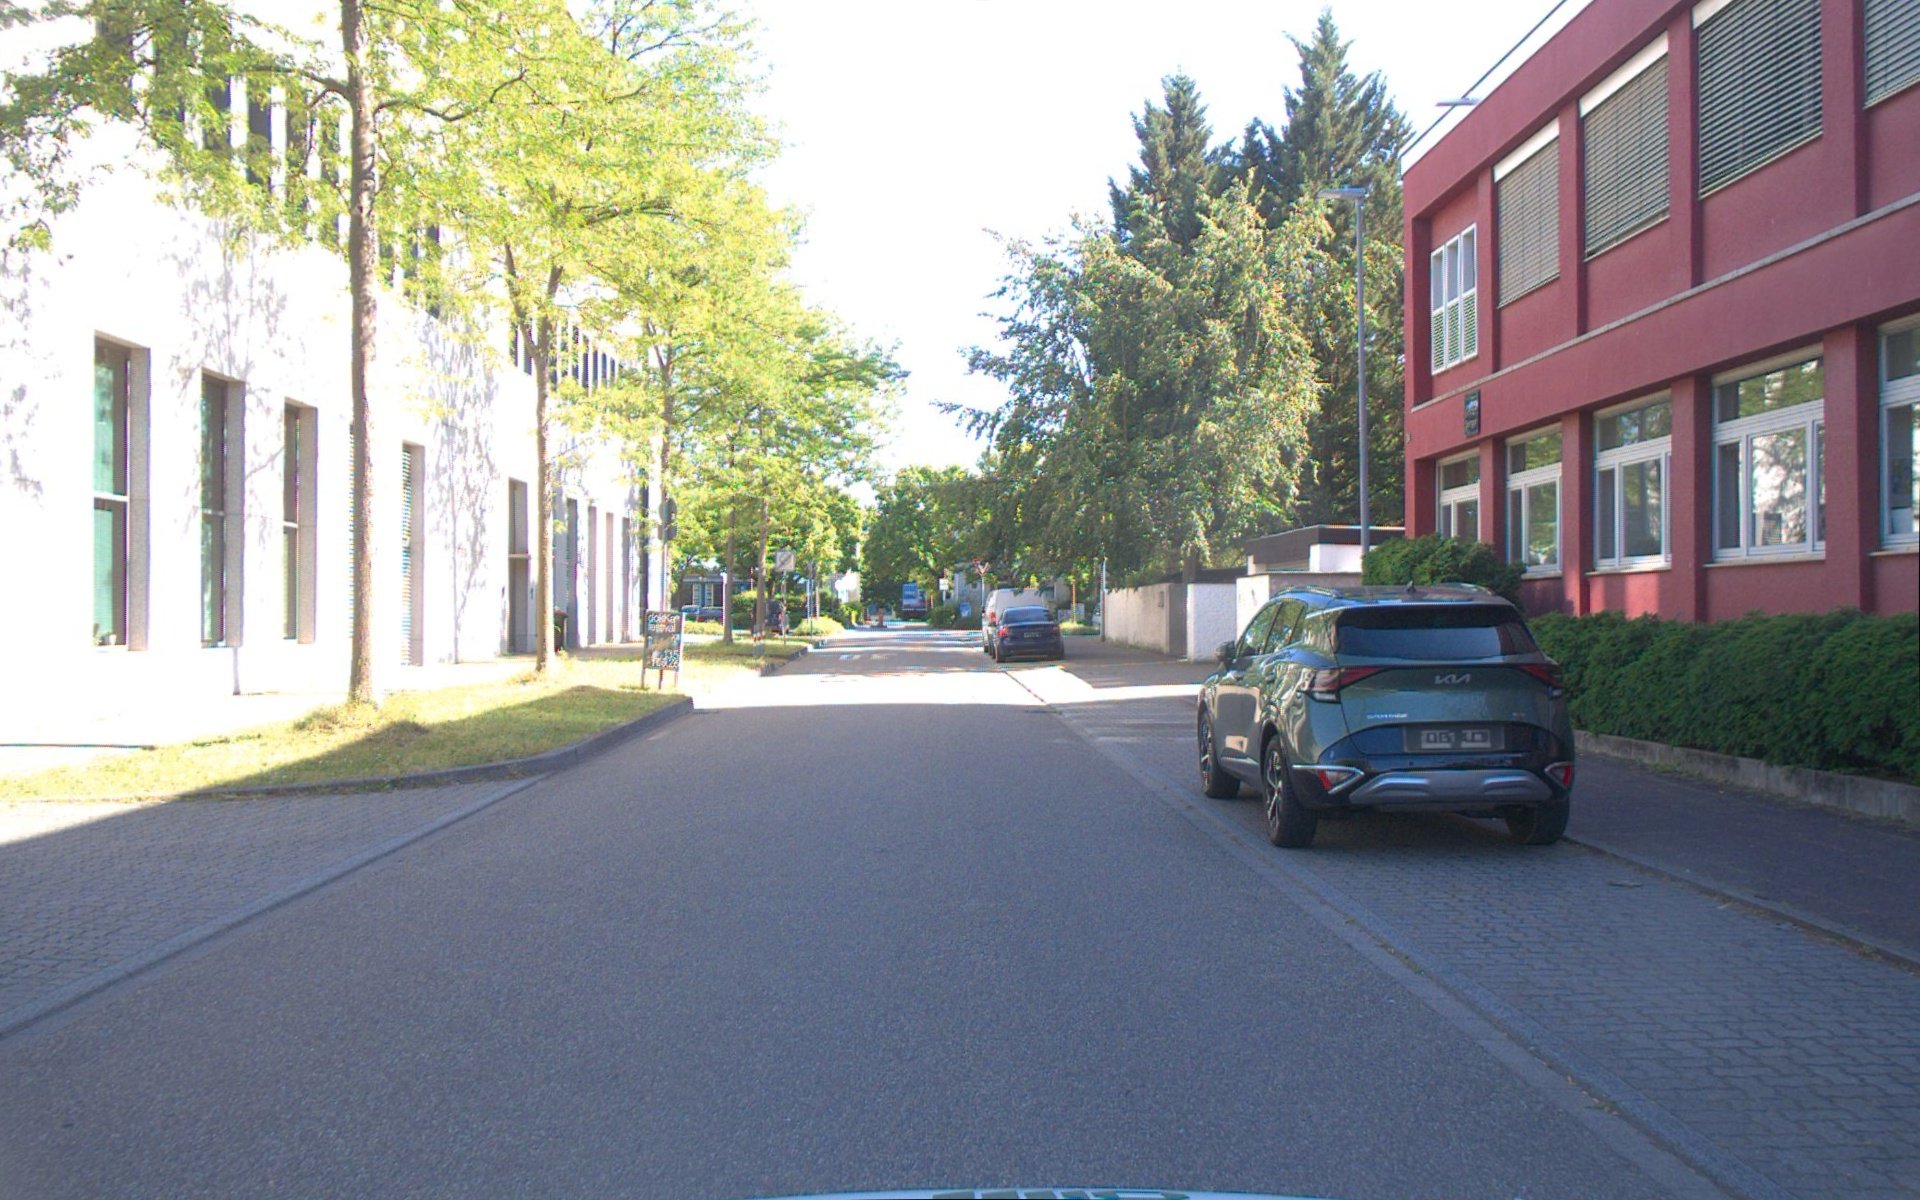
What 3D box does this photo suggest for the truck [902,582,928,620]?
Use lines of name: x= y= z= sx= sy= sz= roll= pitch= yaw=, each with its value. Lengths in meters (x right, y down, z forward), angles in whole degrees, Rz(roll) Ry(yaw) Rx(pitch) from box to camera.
truck: x=-4.920 y=0.116 z=181.058 sx=2.704 sy=3.937 sz=9.327 roll=1 pitch=0 yaw=-1

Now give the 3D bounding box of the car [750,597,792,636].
car: x=-9.823 y=0.838 z=86.268 sx=1.836 sy=1.879 sz=4.167 roll=0 pitch=1 yaw=-2

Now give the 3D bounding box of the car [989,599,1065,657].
car: x=1.749 y=0.721 z=44.413 sx=1.788 sy=1.448 sz=4.282 roll=-1 pitch=0 yaw=-1

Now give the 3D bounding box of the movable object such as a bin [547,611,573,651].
movable object such as a bin: x=-10.689 y=0.831 z=44.188 sx=0.581 sy=1.058 sz=0.543 roll=1 pitch=-1 yaw=-4

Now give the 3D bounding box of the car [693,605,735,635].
car: x=-12.755 y=1.017 z=86.011 sx=1.787 sy=1.430 sz=4.166 roll=0 pitch=1 yaw=-3

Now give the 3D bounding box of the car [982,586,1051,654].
car: x=1.678 y=0.580 z=50.625 sx=1.860 sy=1.947 sz=5.147 roll=-1 pitch=0 yaw=-1

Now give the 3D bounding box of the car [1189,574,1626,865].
car: x=2.907 y=0.701 z=11.802 sx=1.860 sy=1.658 sz=4.371 roll=-1 pitch=0 yaw=-1
